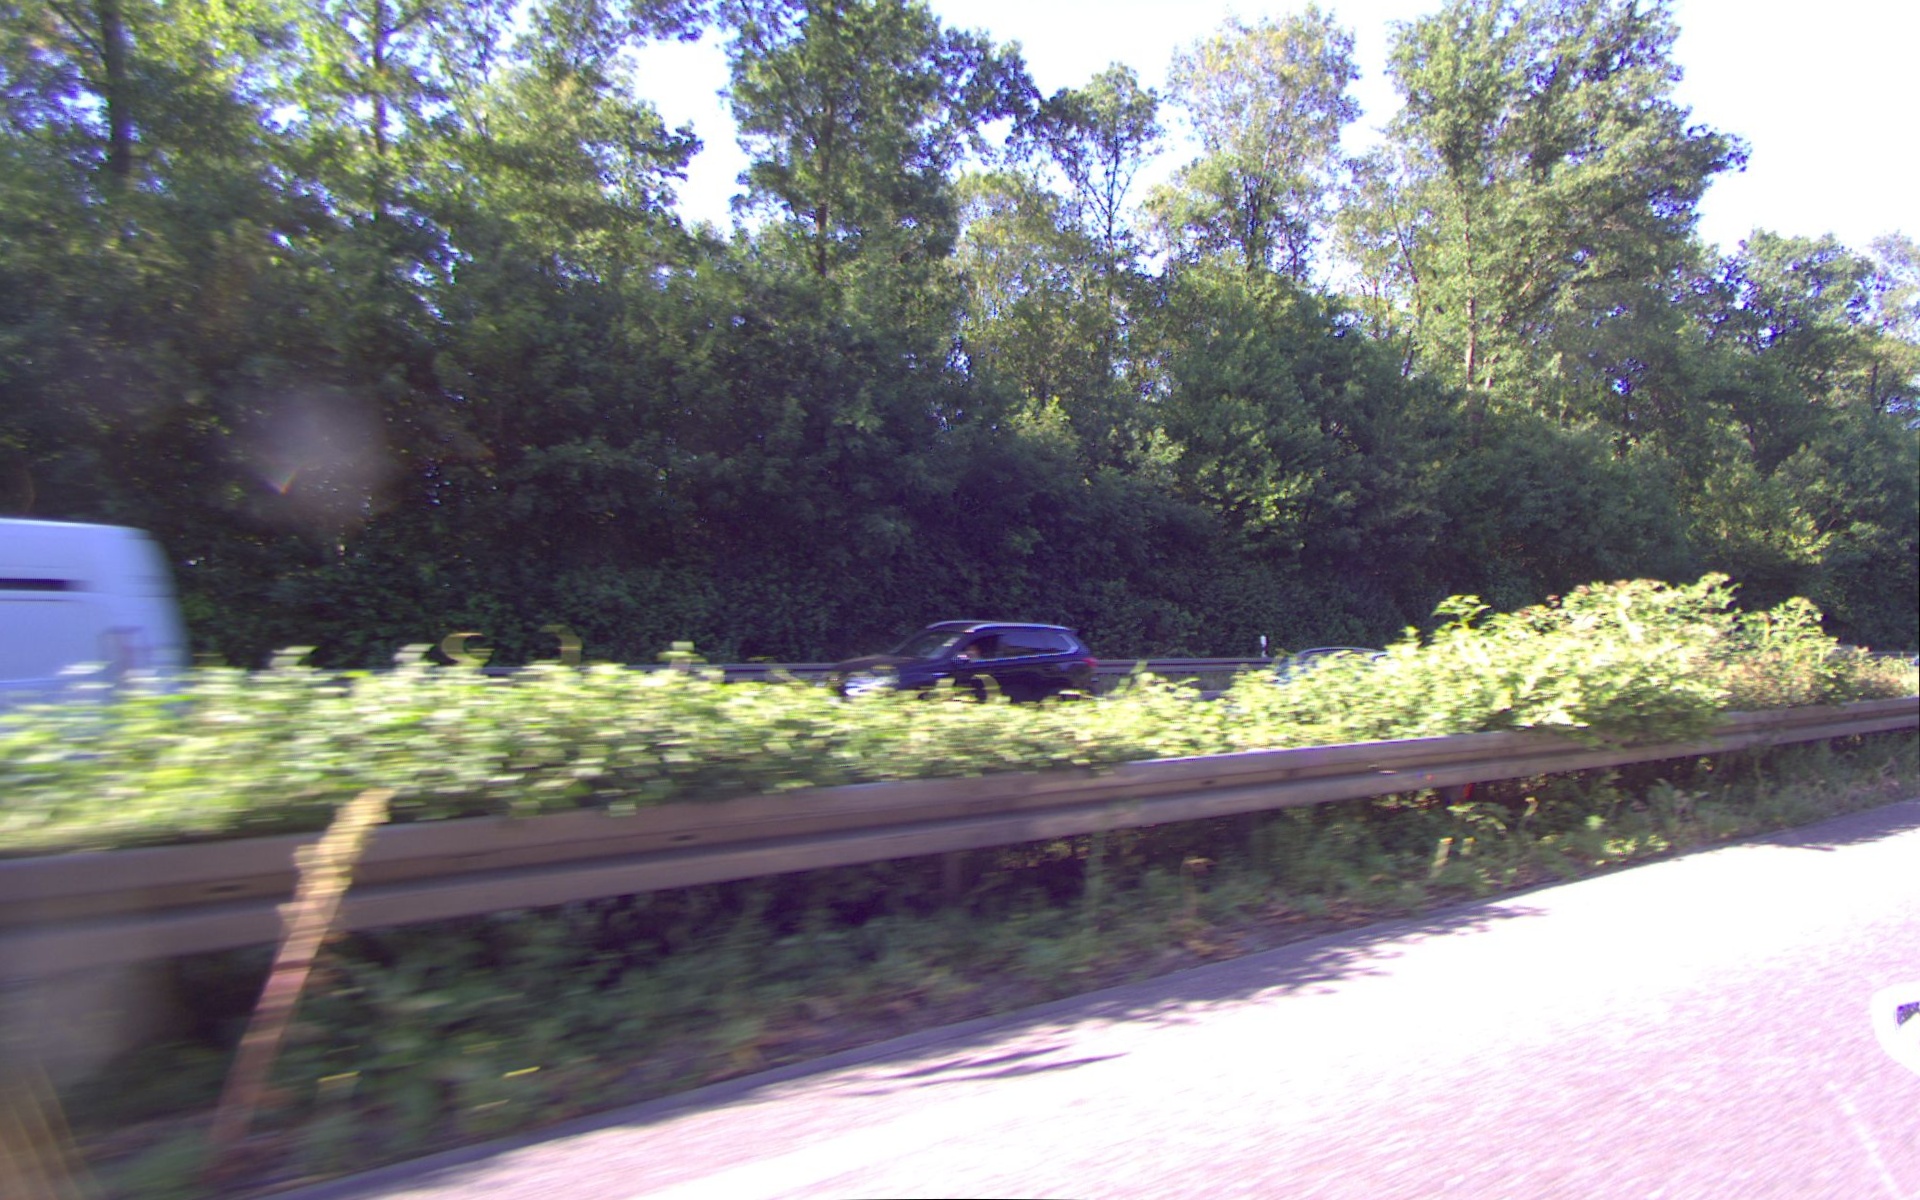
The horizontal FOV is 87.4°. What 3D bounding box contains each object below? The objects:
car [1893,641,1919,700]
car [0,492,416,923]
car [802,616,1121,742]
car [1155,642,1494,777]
[{"bbox_3d":[25.856,1.820,25.918,3.734,1.432,1.640,1,0,-31],"label":"car"},{"bbox_3d":[-6.361,0.538,5.637,5.719,2.282,1.905,2,0,-31],"label":"car"},{"bbox_3d":[0.120,1.163,15.904,4.876,1.681,1.823,2,-1,-34],"label":"car"},{"bbox_3d":[4.900,1.314,13.237,4.669,1.433,1.800,2,-1,-34],"label":"car"}]
